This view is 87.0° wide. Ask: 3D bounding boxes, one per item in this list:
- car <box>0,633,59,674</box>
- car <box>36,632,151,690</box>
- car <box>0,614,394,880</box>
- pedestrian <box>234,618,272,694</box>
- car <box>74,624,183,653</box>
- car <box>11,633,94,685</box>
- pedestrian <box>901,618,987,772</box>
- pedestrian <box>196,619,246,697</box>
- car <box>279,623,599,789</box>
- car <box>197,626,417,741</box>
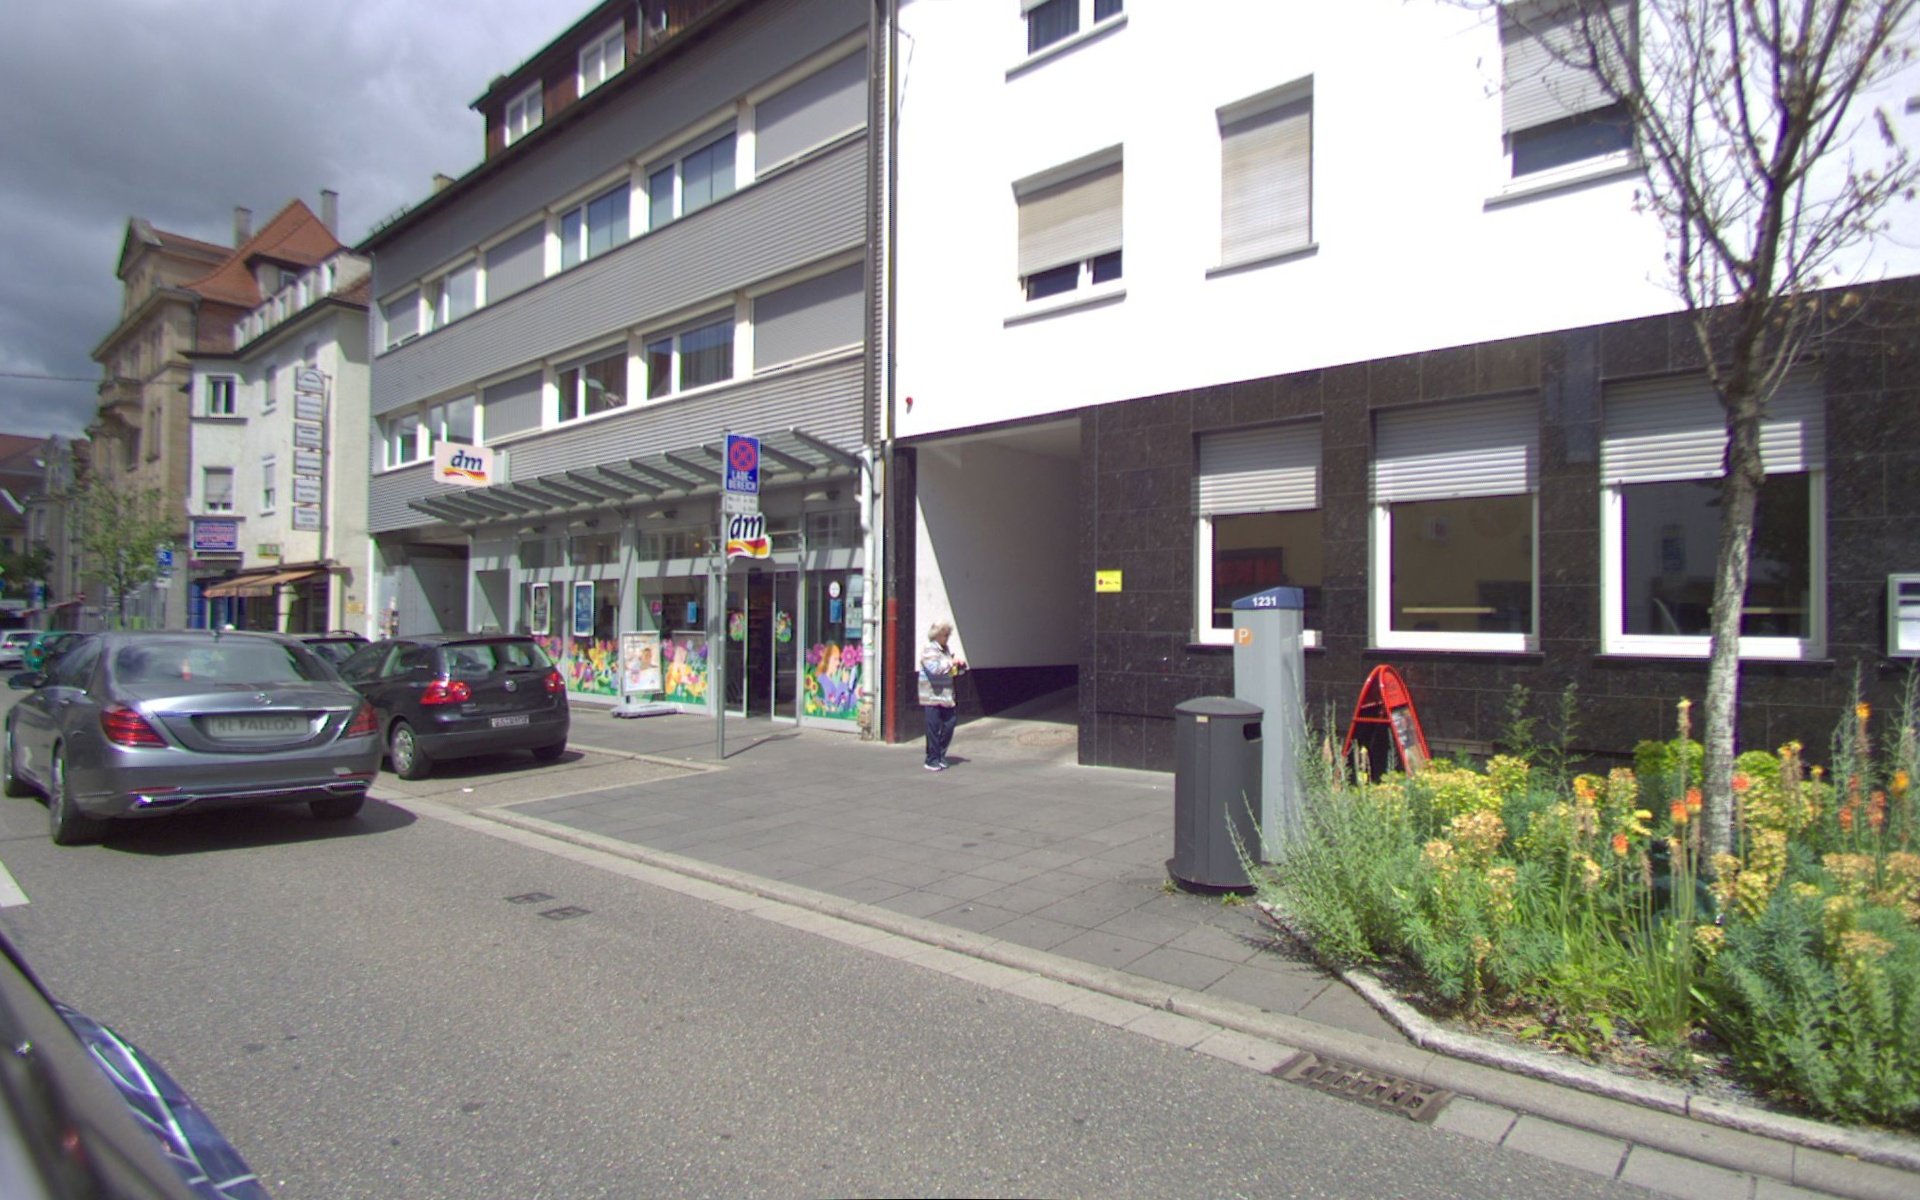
[{"bbox_3d":[-36.111,2.010,38.713,4.032,1.408,1.828,-1,0,39],"label":"car"},{"bbox_3d":[-24.255,1.658,28.302,3.548,1.457,1.583,-1,0,34],"label":"car"},{"bbox_3d":[-6.542,0.918,8.319,4.644,1.575,1.885,-1,-2,42],"label":"car"},{"bbox_3d":[-16.965,1.329,24.280,0.728,1.770,0.543,-1,0,38],"label":"pedestrian"},{"bbox_3d":[-46.785,2.163,57.082,1.985,1.391,4.358,-1,1,21],"label":"car"},{"bbox_3d":[-28.075,1.768,31.281,3.668,1.425,1.569,-1,0,43],"label":"car"},{"bbox_3d":[-0.162,0.918,10.167,0.563,1.466,0.647,-1,0,42],"label":"pedestrian"},{"bbox_3d":[-16.086,1.241,22.035,0.650,1.630,0.724,-1,0,36],"label":"pedestrian"},{"bbox_3d":[-6.134,1.066,11.727,4.173,1.515,1.773,-1,0,39],"label":"car"},{"bbox_3d":[-10.467,1.223,16.059,4.711,1.524,1.771,-2,-1,42],"label":"car"}]
